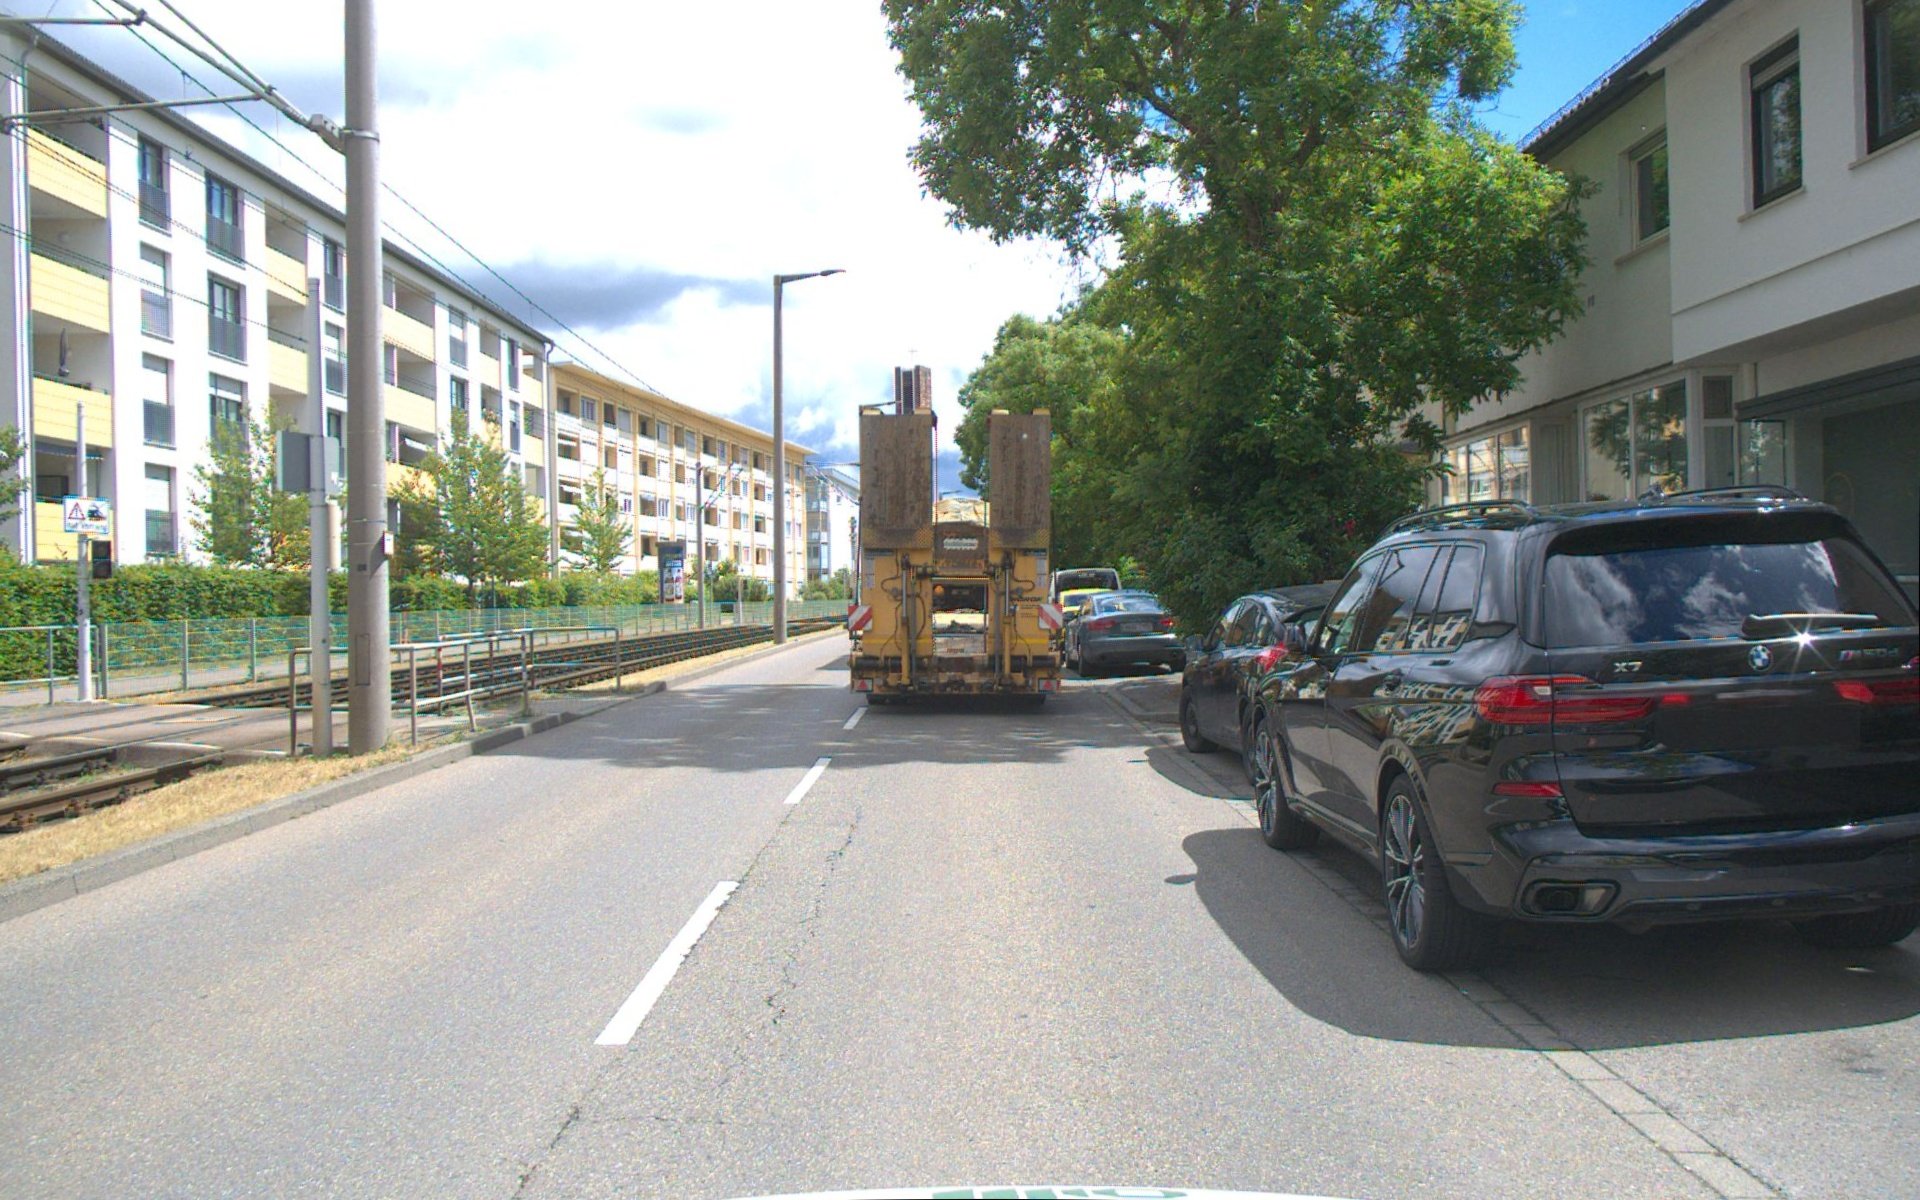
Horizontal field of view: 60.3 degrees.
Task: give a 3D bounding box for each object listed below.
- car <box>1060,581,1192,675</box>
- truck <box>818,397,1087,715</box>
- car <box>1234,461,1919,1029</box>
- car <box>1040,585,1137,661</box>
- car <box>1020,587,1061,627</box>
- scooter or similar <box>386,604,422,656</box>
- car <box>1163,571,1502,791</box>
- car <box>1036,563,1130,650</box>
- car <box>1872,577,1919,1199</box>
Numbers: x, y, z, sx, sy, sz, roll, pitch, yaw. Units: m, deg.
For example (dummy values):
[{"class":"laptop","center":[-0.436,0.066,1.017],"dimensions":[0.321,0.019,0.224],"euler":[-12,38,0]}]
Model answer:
[{"class":"car","center":[2.813,0.445,28.874],"dimensions":[1.720,1.467,4.492],"euler":[-2,0,-1]},{"class":"truck","center":[-0.151,-0.548,25.273],"dimensions":[3.060,3.627,12.457],"euler":[-1,0,-1]},{"class":"car","center":[2.722,0.459,7.978],"dimensions":[1.974,1.820,5.076],"euler":[-2,0,1]},{"class":"car","center":[2.695,0.450,35.523],"dimensions":[1.719,1.467,4.341],"euler":[-2,0,0]},{"class":"car","center":[3.749,0.296,76.349],"dimensions":[1.785,1.711,4.578],"euler":[-2,0,4]},{"class":"scooter or similar","center":[-14.543,0.782,43.303],"dimensions":[0.480,1.315,1.302],"euler":[-1,0,1]},{"class":"car","center":[2.955,0.577,14.068],"dimensions":[1.797,1.532,4.241],"euler":[-2,0,-1]},{"class":"car","center":[3.044,0.142,42.028],"dimensions":[1.875,1.993,5.744],"euler":[-2,0,0]},{"class":"car","center":[2.795,0.640,1.367],"dimensions":[1.736,1.467,3.897],"euler":[-3,0,-3]}]
